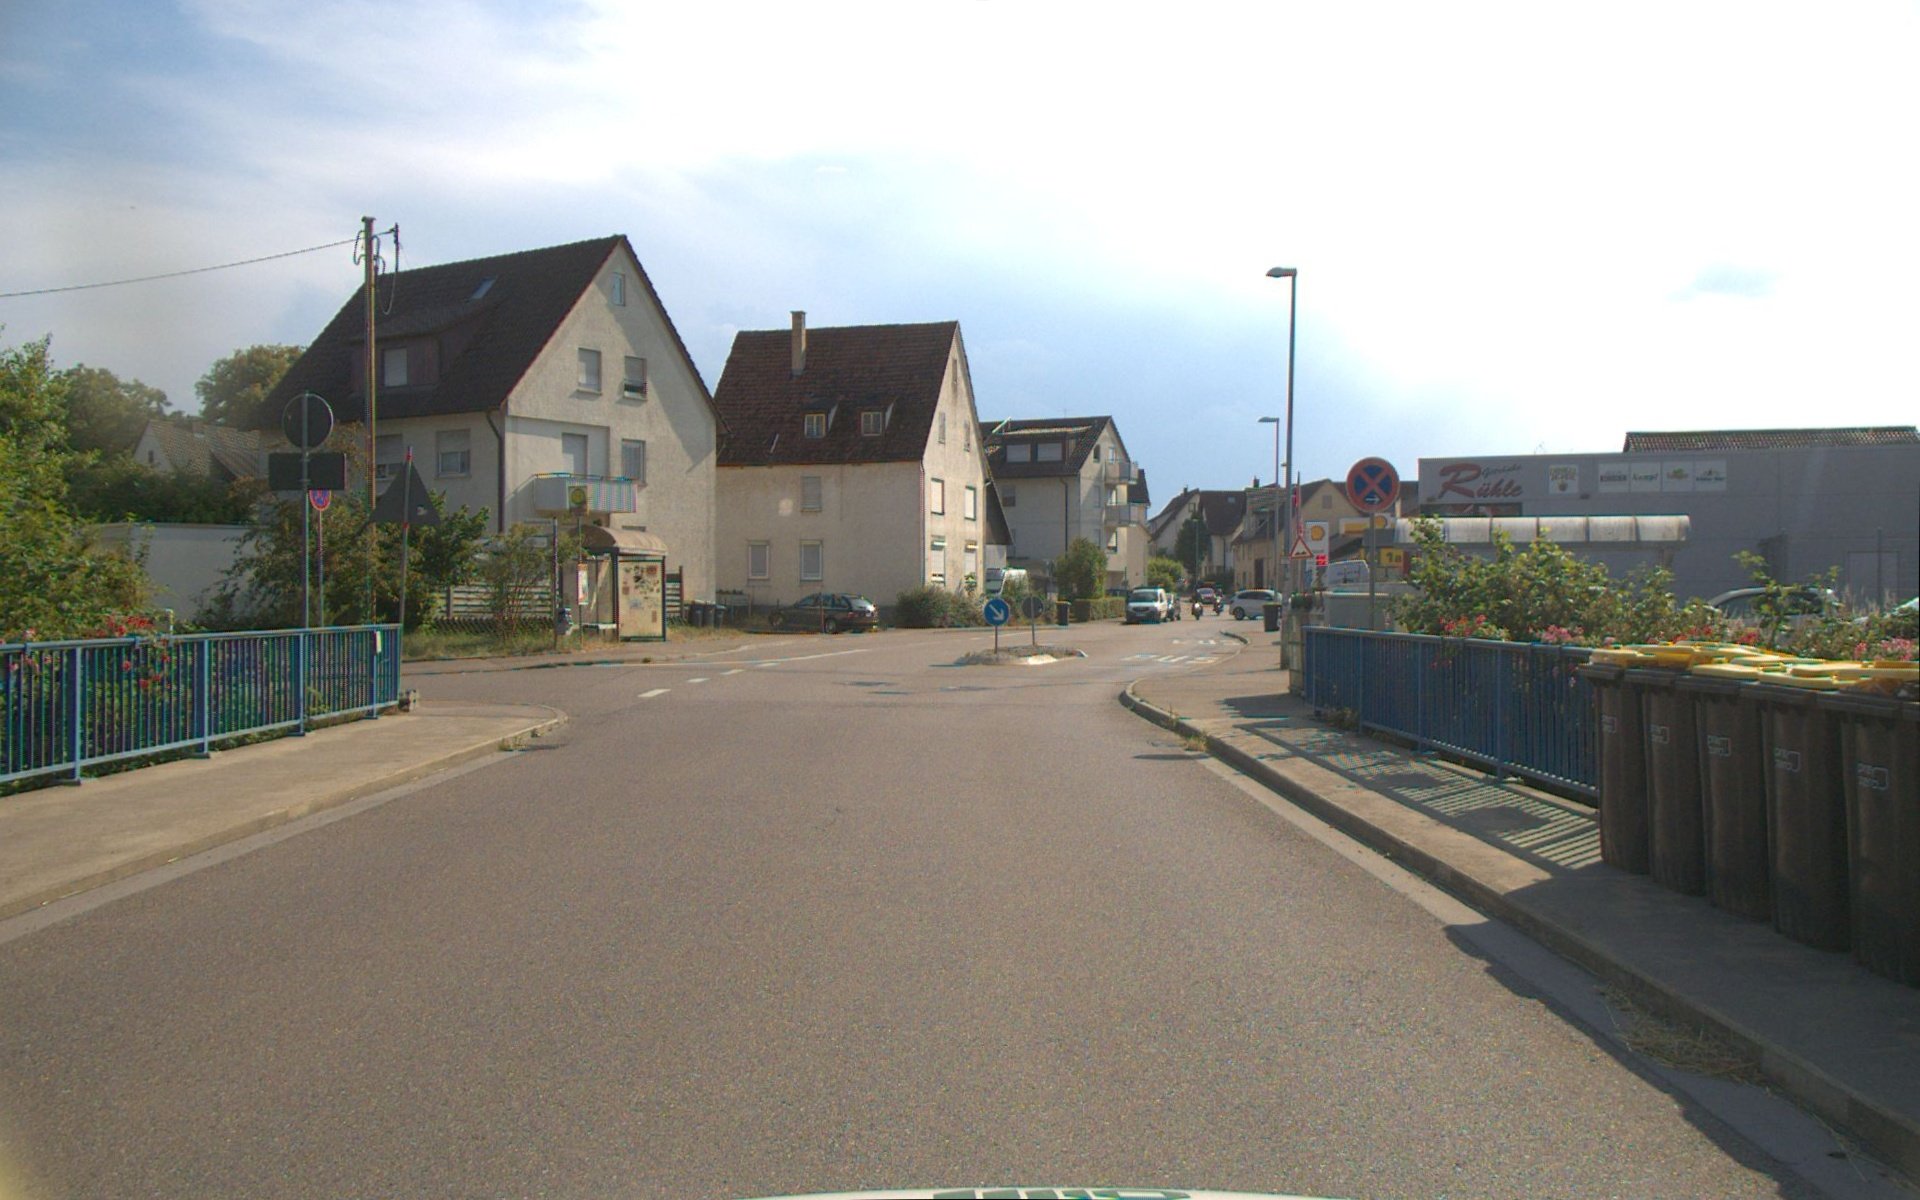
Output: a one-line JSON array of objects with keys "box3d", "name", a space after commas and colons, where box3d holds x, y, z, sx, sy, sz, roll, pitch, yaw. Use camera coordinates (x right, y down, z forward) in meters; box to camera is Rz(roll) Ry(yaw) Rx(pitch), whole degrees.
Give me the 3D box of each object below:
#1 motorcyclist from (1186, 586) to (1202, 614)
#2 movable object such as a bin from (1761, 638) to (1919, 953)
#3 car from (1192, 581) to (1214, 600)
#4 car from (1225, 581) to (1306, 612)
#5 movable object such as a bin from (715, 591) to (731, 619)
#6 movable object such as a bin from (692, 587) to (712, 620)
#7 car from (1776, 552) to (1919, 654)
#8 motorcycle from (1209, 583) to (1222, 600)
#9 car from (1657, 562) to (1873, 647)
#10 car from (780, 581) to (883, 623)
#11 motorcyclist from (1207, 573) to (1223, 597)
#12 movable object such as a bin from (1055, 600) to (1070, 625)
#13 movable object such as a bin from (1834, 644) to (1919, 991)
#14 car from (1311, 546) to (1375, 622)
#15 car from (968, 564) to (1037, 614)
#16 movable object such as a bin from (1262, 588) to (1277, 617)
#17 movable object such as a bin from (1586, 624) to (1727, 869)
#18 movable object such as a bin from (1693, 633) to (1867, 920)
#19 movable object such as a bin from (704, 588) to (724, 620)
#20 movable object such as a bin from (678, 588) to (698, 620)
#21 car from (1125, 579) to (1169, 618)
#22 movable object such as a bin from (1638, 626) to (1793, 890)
[{"box3d": [12.948, 0.003, 91.563, 0.721, 1.553, 1.017, 3, 0, 16], "name": "motorcyclist"}, {"box3d": [3.527, 0.746, 6.518, 0.469, 1.163, 0.538, -1, 1, -1], "name": "movable object such as a bin"}, {"box3d": [19.907, -0.766, 135.563, 1.672, 1.460, 3.783, -1, 1, 7], "name": "car"}, {"box3d": [16.653, -0.204, 90.296, 3.917, 1.636, 1.994, 1, 1, 34], "name": "car"}, {"box3d": [-7.936, 0.163, 55.373, 0.354, 0.941, 0.399, 0, -1, 30], "name": "movable object such as a bin"}, {"box3d": [-8.483, 0.114, 54.404, 0.354, 1.059, 0.557, 0, -1, 30], "name": "movable object such as a bin"}, {"box3d": [14.471, 0.045, 24.649, 3.855, 1.474, 1.684, -1, 0, 14], "name": "car"}, {"box3d": [15.760, -0.526, 102.058, 0.513, 1.030, 2.029, 2, 1, 16], "name": "motorcycle"}, {"box3d": [14.690, 0.086, 30.353, 3.365, 1.441, 1.499, -2, 0, 19], "name": "car"}, {"box3d": [-4.909, 0.062, 62.953, 3.929, 1.458, 1.643, 2, 2, 42], "name": "car"}, {"box3d": [15.714, -0.911, 101.947, 0.785, 1.461, 1.037, 1, 1, 16], "name": "motorcyclist"}, {"box3d": [4.760, 0.571, 76.689, 0.598, 1.120, 0.576, 1, 0, 14], "name": "movable object such as a bin"}, {"box3d": [3.512, 0.751, 5.924, 0.469, 1.163, 0.538, -1, 1, -1], "name": "movable object such as a bin"}, {"box3d": [12.844, -0.538, 55.664, 1.797, 2.416, 5.183, -1, 1, 10], "name": "car"}, {"box3d": [2.371, -0.643, 91.111, 2.113, 2.641, 6.097, 1, 2, 18], "name": "car"}, {"box3d": [11.962, 0.095, 63.931, 0.555, 1.094, 0.573, -1, 1, 10], "name": "movable object such as a bin"}, {"box3d": [3.477, 0.714, 8.284, 0.469, 1.163, 0.538, -1, 1, -1], "name": "movable object such as a bin"}, {"box3d": [3.506, 0.734, 7.100, 0.469, 1.163, 0.538, -1, 1, -1], "name": "movable object such as a bin"}, {"box3d": [-8.163, 0.130, 54.916, 0.354, 1.041, 0.576, 0, -1, 30], "name": "movable object such as a bin"}, {"box3d": [-8.862, 0.138, 53.897, 0.354, 1.034, 0.557, 0, -1, 30], "name": "movable object such as a bin"}, {"box3d": [9.781, -0.099, 86.267, 1.680, 1.905, 4.196, -1, 1, 15], "name": "car"}, {"box3d": [3.502, 0.713, 7.693, 0.469, 1.163, 0.538, -1, 1, -1], "name": "movable object such as a bin"}]
